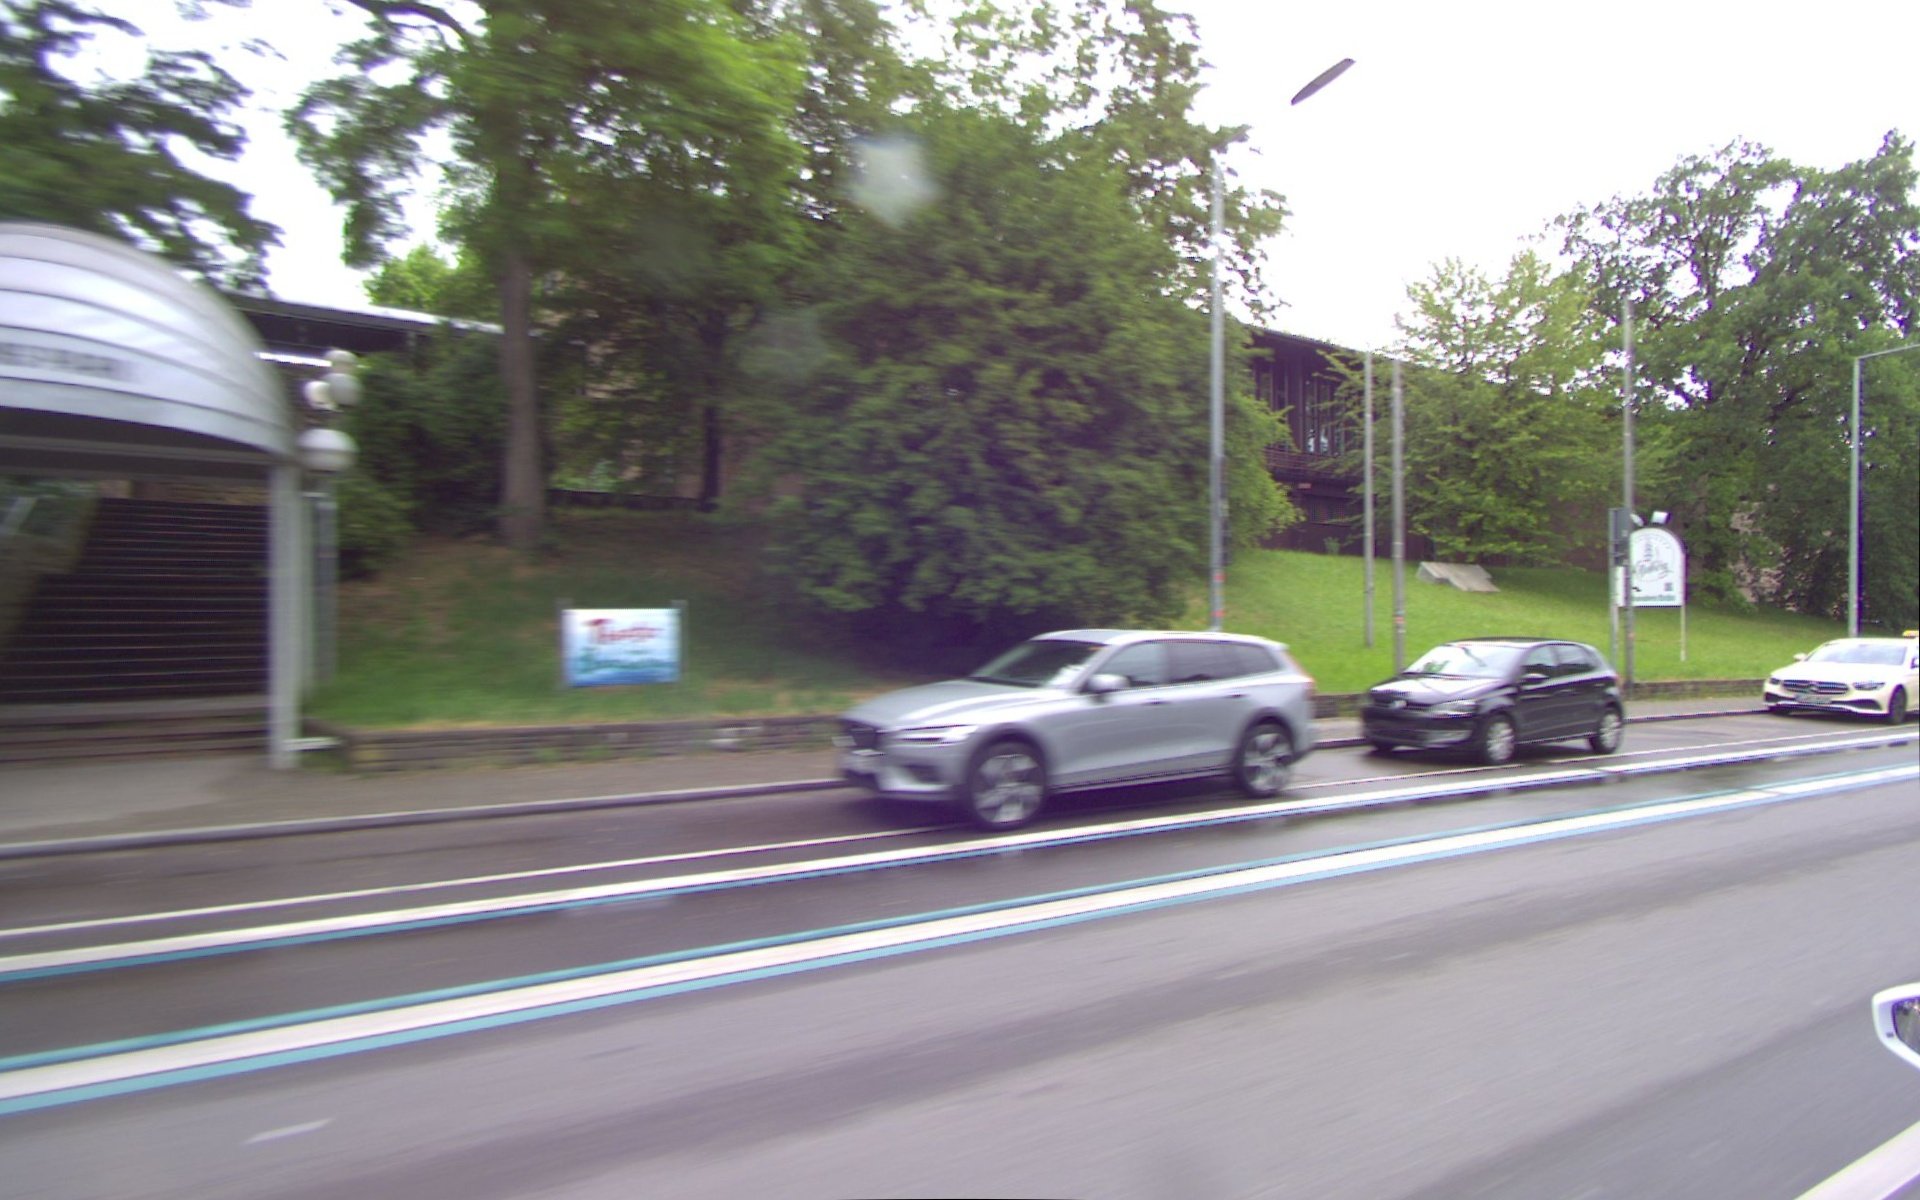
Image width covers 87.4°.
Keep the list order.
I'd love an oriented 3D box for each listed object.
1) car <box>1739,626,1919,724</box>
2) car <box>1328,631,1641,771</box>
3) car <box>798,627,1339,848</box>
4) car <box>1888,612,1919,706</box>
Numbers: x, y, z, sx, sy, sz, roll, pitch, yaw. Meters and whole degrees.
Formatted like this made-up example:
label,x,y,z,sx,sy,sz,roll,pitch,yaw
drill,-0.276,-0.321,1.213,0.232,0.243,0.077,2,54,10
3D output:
label,x,y,z,sx,sy,sz,roll,pitch,yaw
car,17.040,1.321,18.906,4.923,1.627,1.982,1,-1,-29
car,6.680,1.154,12.700,4.007,1.456,1.687,0,-1,-31
car,1.082,1.033,9.148,4.621,1.502,2.066,1,-1,-32
car,22.381,1.247,21.867,4.870,1.957,1.904,0,-1,-31
